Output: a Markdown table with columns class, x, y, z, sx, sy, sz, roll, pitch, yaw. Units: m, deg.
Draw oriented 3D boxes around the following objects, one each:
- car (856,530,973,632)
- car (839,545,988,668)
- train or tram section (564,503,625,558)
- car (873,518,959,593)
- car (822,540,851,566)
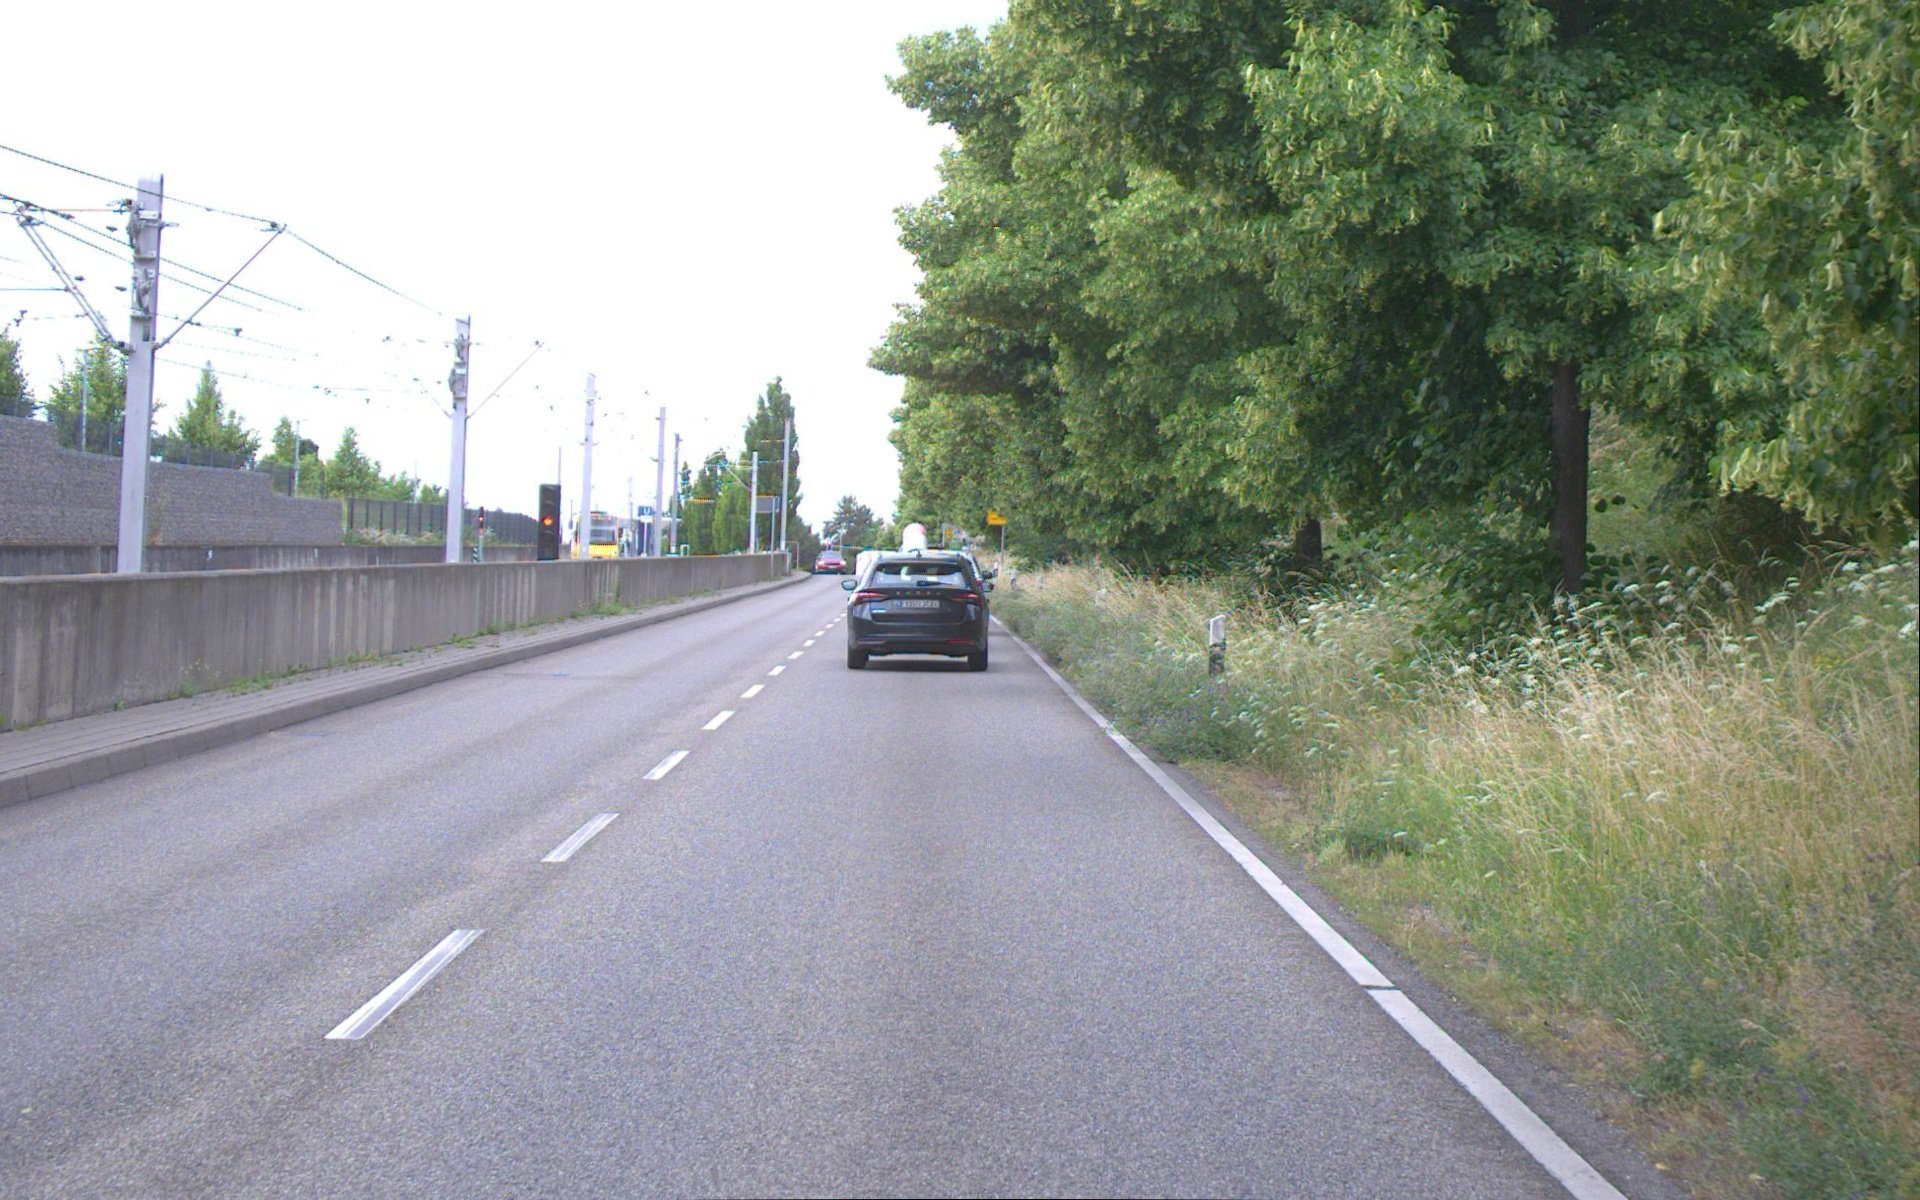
| class | x | y | z | sx | sy | sz | roll | pitch | yaw |
| --- | --- | --- | --- | --- | --- | --- | --- | --- | --- |
| car | -0.806 | -0.360 | 61.536 | 1.993 | 1.747 | 4.000 | 1 | 1 | -1 |
| car | -0.580 | 0.051 | 43.624 | 1.781 | 1.463 | 4.000 | 1 | 1 | -1 |
| train or tram section | -23.119 | -4.292 | 216.588 | 2.811 | 3.106 | 18.920 | 1 | 0 | -9 |
| car | -1.051 | -1.062 | 82.900 | 1.993 | 1.734 | 4.000 | 1 | 0 | -1 |
| car | -7.466 | -2.869 | 208.002 | 1.662 | 1.540 | 3.953 | 0 | 1 | -1 |
